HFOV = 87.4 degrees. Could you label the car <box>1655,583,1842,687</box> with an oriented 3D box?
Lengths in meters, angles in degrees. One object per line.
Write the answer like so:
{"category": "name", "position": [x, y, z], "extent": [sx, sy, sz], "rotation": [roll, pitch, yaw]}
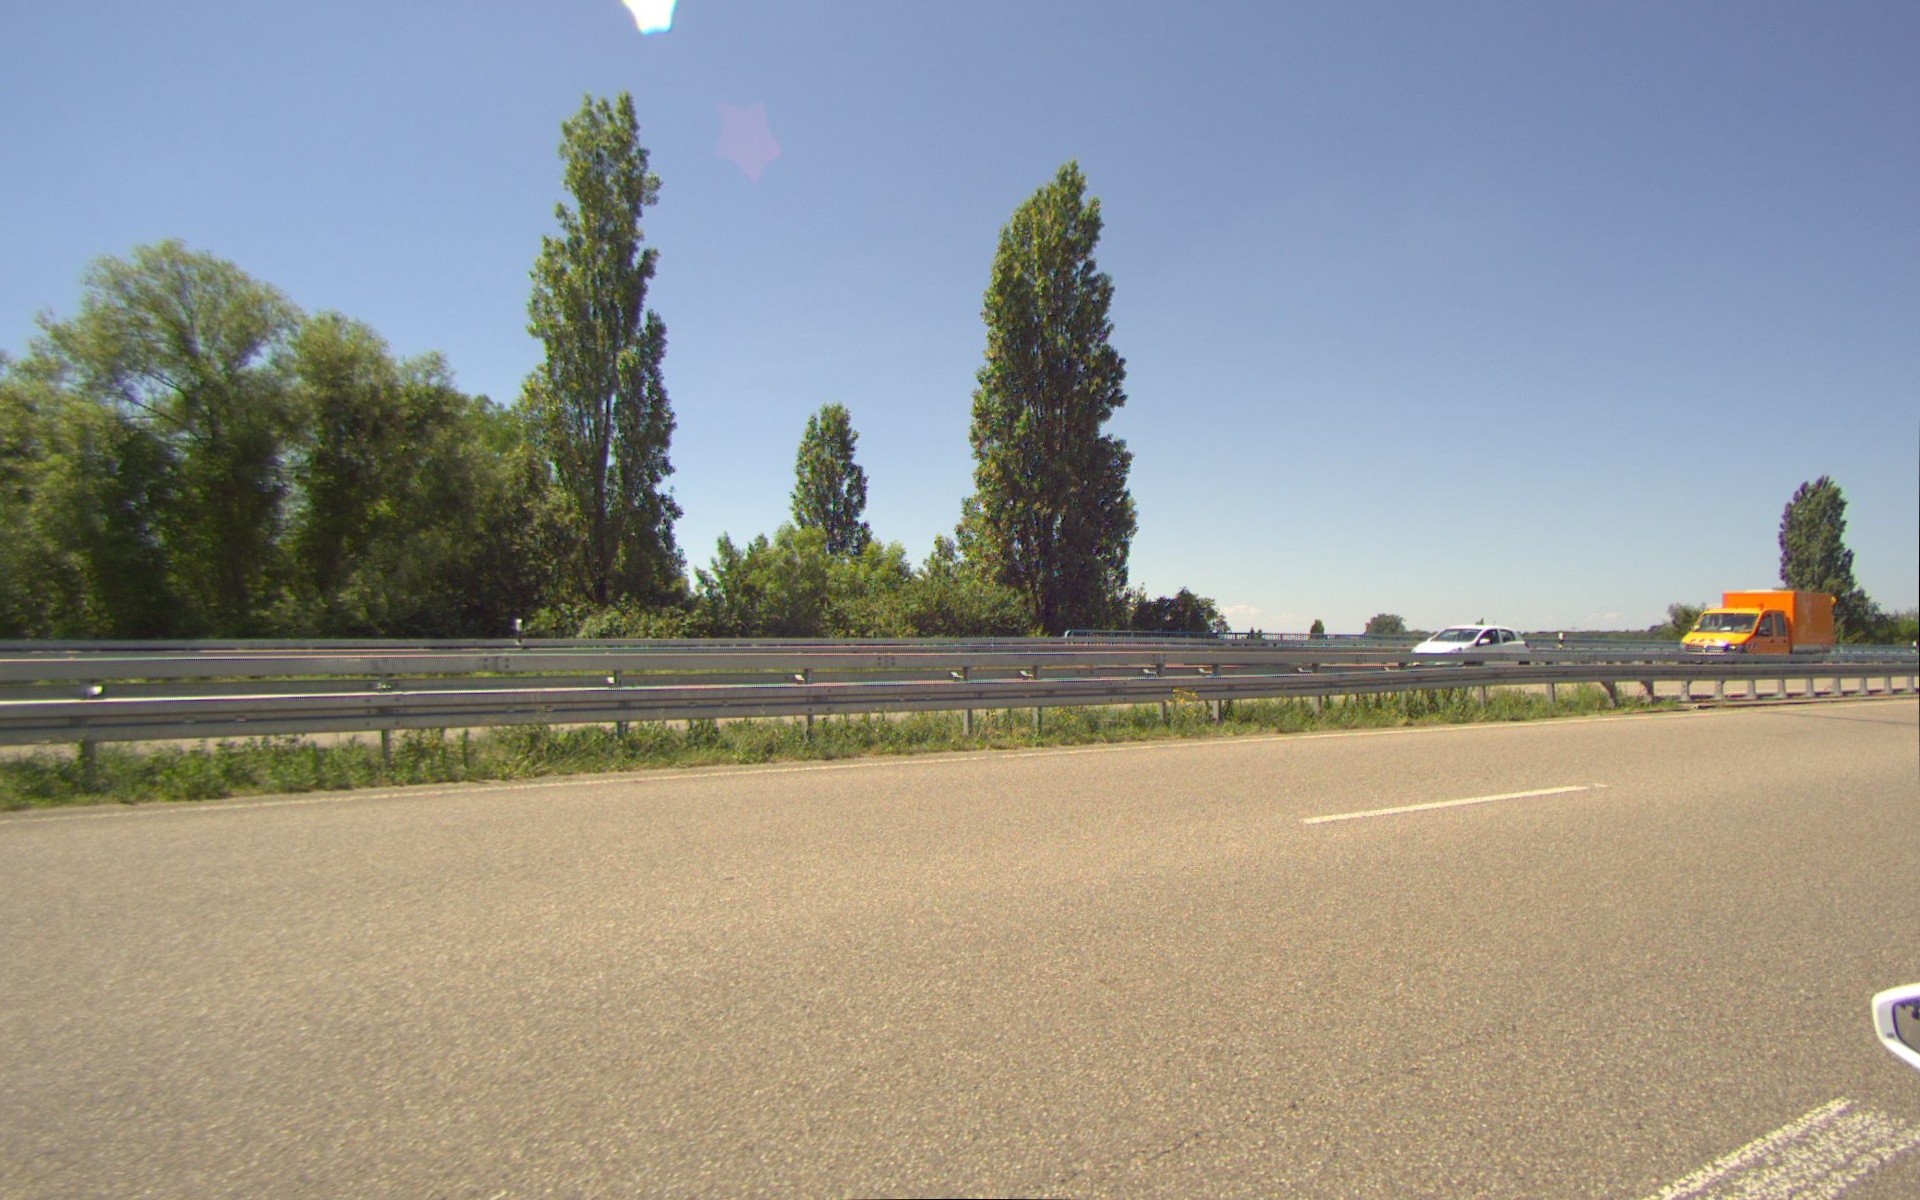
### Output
{"category": "car", "position": [27.316, 1.245, 34.747], "extent": [6.935, 3.335, 2.298], "rotation": [2, -2, -26]}

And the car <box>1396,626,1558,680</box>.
{"category": "car", "position": [14.818, 1.506, 28.747], "extent": [4.737, 1.451, 1.845], "rotation": [2, -2, -29]}
